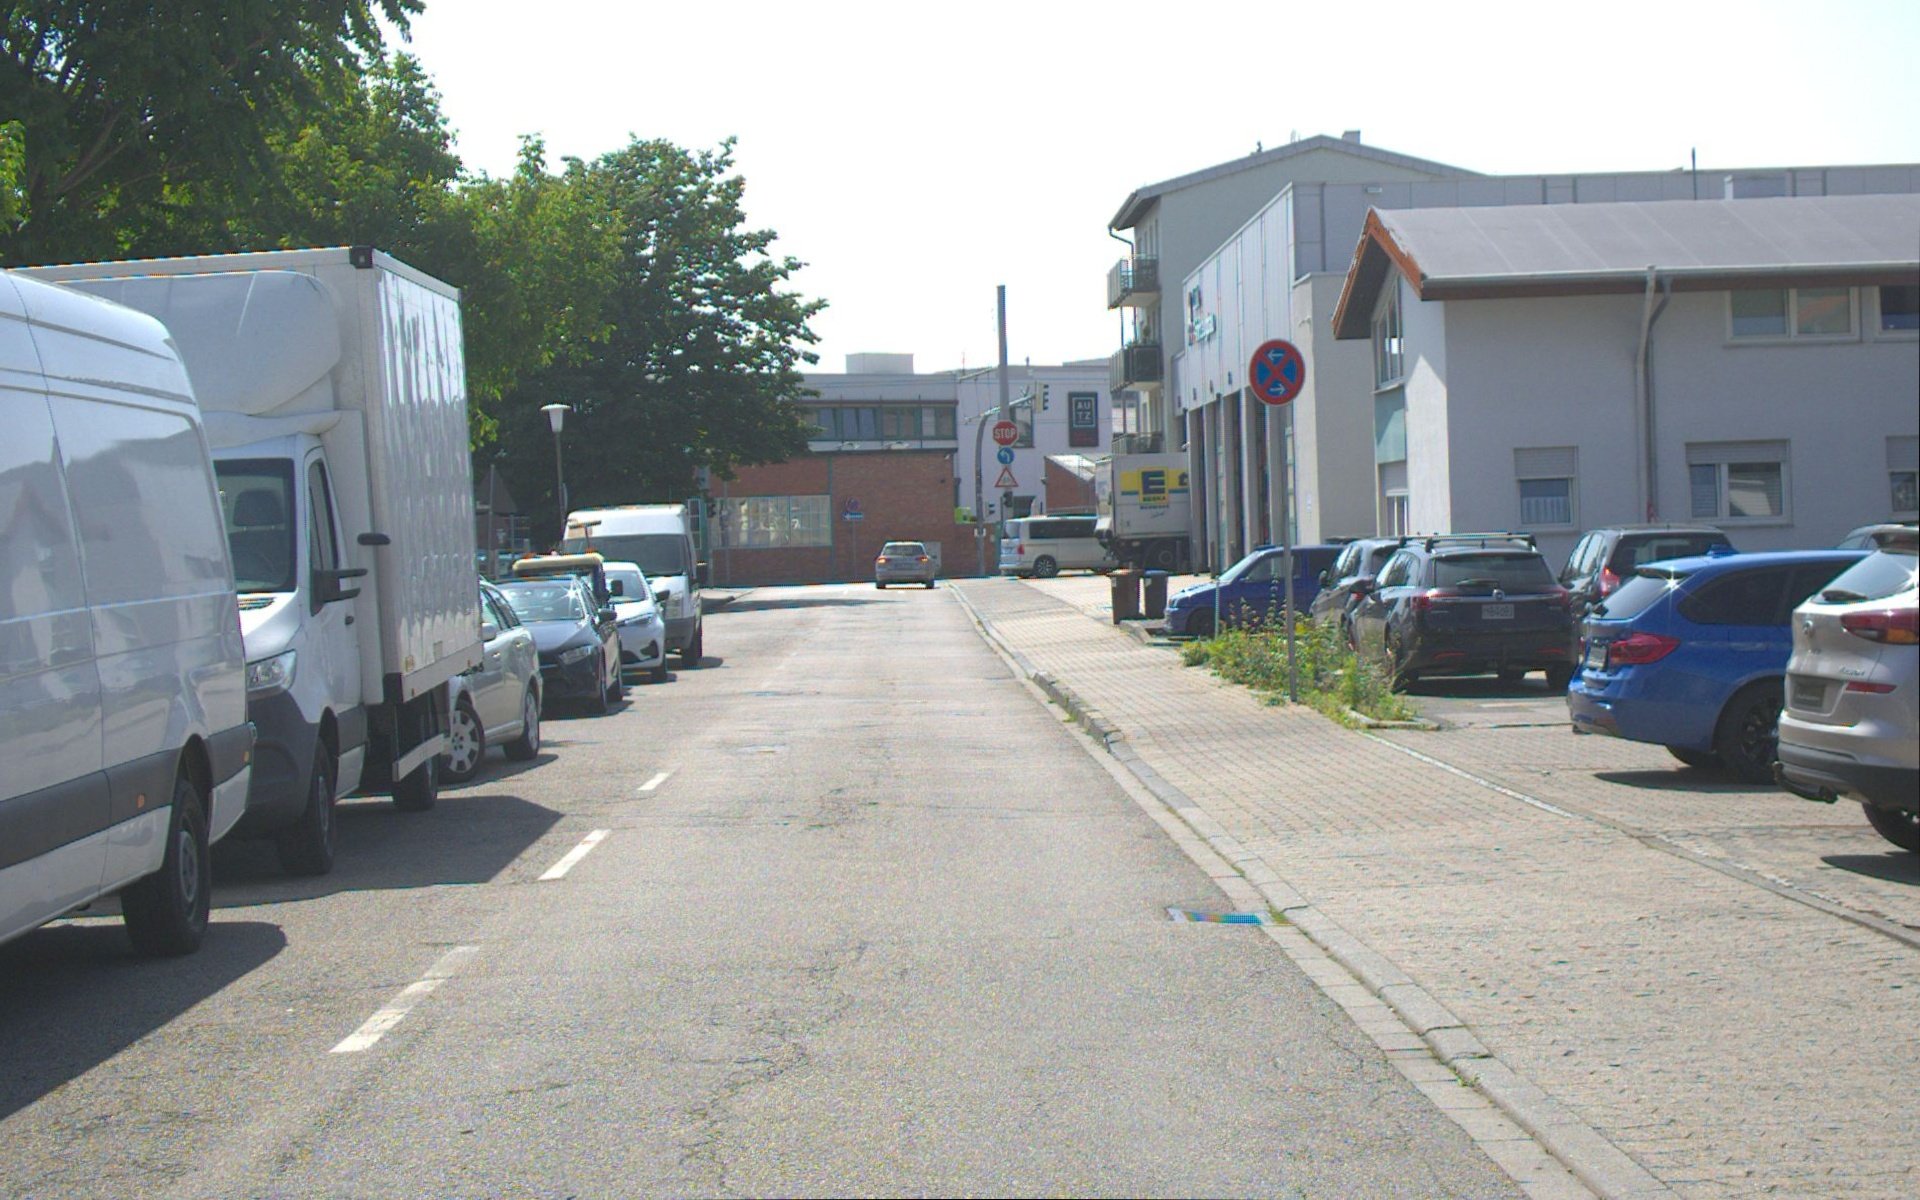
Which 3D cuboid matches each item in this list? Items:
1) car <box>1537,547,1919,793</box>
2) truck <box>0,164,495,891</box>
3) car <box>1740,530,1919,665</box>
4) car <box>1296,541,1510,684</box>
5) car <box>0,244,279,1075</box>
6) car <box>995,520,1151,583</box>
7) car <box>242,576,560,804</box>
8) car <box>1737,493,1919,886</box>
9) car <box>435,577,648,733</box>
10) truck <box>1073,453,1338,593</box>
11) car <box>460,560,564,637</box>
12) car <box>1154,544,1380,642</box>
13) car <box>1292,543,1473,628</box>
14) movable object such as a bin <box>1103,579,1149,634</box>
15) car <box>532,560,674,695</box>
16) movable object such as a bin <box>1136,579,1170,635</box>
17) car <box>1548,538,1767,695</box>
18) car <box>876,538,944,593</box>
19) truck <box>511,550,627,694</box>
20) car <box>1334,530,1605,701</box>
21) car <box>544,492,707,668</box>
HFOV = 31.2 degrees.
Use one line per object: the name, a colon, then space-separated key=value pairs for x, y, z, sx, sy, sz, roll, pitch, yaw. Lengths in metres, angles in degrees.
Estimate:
car: x=6.025 y=0.387 z=21.776 sx=4.352 sy=1.436 sz=1.892 roll=-2 pitch=0 yaw=-1
truck: x=-4.311 y=-0.315 z=19.651 sx=2.685 sy=3.355 sz=7.130 roll=-2 pitch=0 yaw=-4
car: x=11.007 y=-0.062 z=40.861 sx=1.759 sy=1.491 sz=4.151 roll=-3 pitch=1 yaw=-12
car: x=5.158 y=0.113 z=40.513 sx=1.811 sy=1.553 sz=4.293 roll=-2 pitch=1 yaw=-2
car: x=-4.088 y=0.211 z=11.670 sx=2.168 sy=2.587 sz=6.920 roll=-3 pitch=0 yaw=-1
car: x=3.660 y=-1.581 z=111.874 sx=4.653 sy=1.951 sz=1.917 roll=-2 pitch=1 yaw=-19
car: x=-4.119 y=0.606 z=25.942 sx=1.741 sy=1.516 sz=4.310 roll=-2 pitch=1 yaw=-1
car: x=5.898 y=0.484 z=15.717 sx=4.200 sy=1.676 sz=1.767 roll=3 pitch=0 yaw=-1
car: x=-4.322 y=0.532 z=36.005 sx=1.704 sy=1.458 sz=4.114 roll=-3 pitch=0 yaw=-1
truck: x=7.362 y=-2.310 z=103.606 sx=7.357 sy=3.633 sz=2.768 roll=-4 pitch=1 yaw=-7
car: x=-9.463 y=-0.050 z=72.797 sx=1.814 sy=1.525 sz=3.676 roll=-2 pitch=1 yaw=-2
car: x=4.646 y=-0.114 z=52.391 sx=3.253 sy=1.394 sz=1.673 roll=-2 pitch=1 yaw=0
car: x=8.400 y=-0.295 z=68.170 sx=1.777 sy=1.534 sz=3.694 roll=-1 pitch=1 yaw=41
movable object such as a bin: x=2.901 y=0.113 z=59.976 sx=0.568 sy=0.943 sz=0.556 roll=-2 pitch=1 yaw=33
car: x=-4.699 y=0.336 z=45.393 sx=1.704 sy=1.618 sz=3.974 roll=-3 pitch=0 yaw=-6
movable object such as a bin: x=3.388 y=0.123 z=60.392 sx=0.514 sy=0.943 sz=0.487 roll=-2 pitch=1 yaw=11
car: x=7.641 y=0.146 z=37.951 sx=1.760 sy=1.589 sz=3.619 roll=2 pitch=1 yaw=2
car: x=-1.616 y=-1.084 z=109.196 sx=1.890 sy=1.679 sz=3.958 roll=-1 pitch=0 yaw=-5
truck: x=-4.724 y=0.241 z=41.782 sx=1.138 sy=1.616 sz=3.141 roll=-3 pitch=1 yaw=-3
car: x=5.082 y=0.118 z=34.955 sx=1.858 sy=1.562 sz=4.952 roll=-2 pitch=1 yaw=-2
car: x=-4.857 y=-0.239 z=50.568 sx=2.005 sy=2.358 sz=5.229 roll=-3 pitch=-1 yaw=-3
